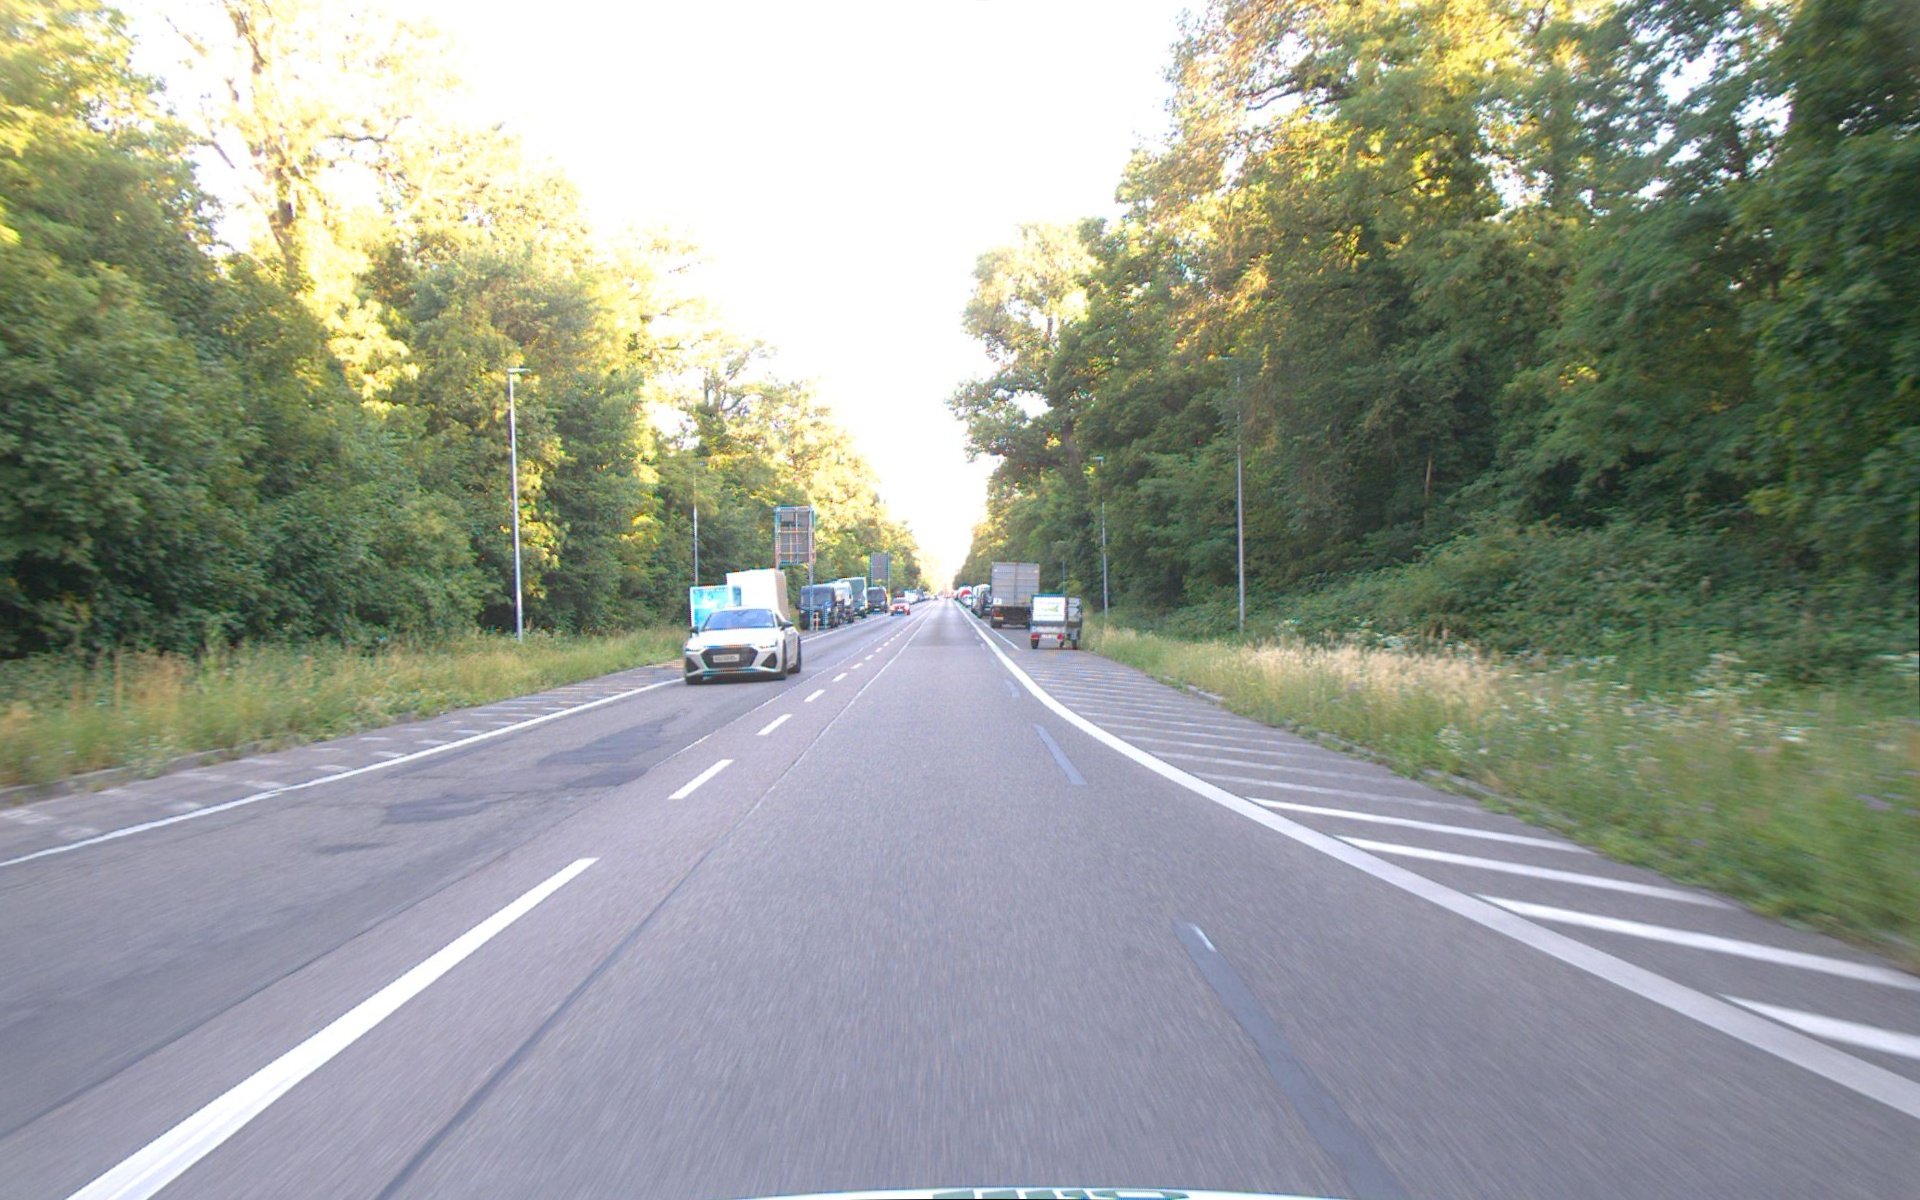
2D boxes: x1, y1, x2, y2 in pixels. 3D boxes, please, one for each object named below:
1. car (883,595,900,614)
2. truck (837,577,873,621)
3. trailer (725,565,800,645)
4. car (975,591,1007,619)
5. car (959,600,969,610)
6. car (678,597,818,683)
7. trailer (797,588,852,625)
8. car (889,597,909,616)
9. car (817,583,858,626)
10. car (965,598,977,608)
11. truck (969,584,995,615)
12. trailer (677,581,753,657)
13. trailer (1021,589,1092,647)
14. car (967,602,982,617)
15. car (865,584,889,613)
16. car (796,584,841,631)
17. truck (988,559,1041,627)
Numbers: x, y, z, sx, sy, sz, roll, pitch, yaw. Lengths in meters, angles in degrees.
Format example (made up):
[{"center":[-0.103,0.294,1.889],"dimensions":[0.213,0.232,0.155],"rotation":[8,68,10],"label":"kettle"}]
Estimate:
[{"center":[-7.795,0.490,188.782],"dimensions":[1.666,2.048,3.999],"rotation":[-5,0,-1],"label":"car"},{"center":[-8.591,-0.113,135.579],"dimensions":[2.453,3.387,6.840],"rotation":[-2,0,-1],"label":"truck"},{"center":[-7.953,0.205,67.152],"dimensions":[2.279,2.975,5.625],"rotation":[-3,0,-1],"label":"trailer"},{"center":[2.184,0.339,117.769],"dimensions":[1.954,1.989,4.297],"rotation":[0,0,-3],"label":"car"},{"center":[0.535,0.686,232.621],"dimensions":[1.398,1.243,3.411],"rotation":[2,0,-1],"label":"car"},{"center":[-4.160,0.748,33.179],"dimensions":[2.021,1.460,4.467],"rotation":[-4,0,2],"label":"car"},{"center":[-8.535,0.417,104.474],"dimensions":[1.922,2.192,3.930],"rotation":[-2,0,20],"label":"trailer"},{"center":[-5.250,0.558,143.101],"dimensions":[1.648,1.512,4.036],"rotation":[-2,0,-2],"label":"car"},{"center":[-8.116,0.269,110.008],"dimensions":[2.203,2.694,5.720],"rotation":[-2,0,-1],"label":"car"},{"center":[1.457,0.325,215.329],"dimensions":[1.398,1.243,3.411],"rotation":[2,0,-1],"label":"car"},{"center":[1.940,-0.033,150.119],"dimensions":[2.098,2.706,4.297],"rotation":[0,0,-3],"label":"truck"},{"center":[-7.588,0.564,51.545],"dimensions":[1.780,2.205,4.141],"rotation":[-2,0,-1],"label":"trailer"},{"center":[3.043,0.521,51.512],"dimensions":[1.425,1.691,3.780],"rotation":[-2,0,15],"label":"trailer"},{"center":[1.371,0.864,156.428],"dimensions":[1.124,1.273,2.752],"rotation":[-5,1,-3],"label":"car"},{"center":[-8.489,-0.199,170.224],"dimensions":[2.142,2.837,5.333],"rotation":[-2,0,-1],"label":"car"},{"center":[-7.866,0.414,92.274],"dimensions":[1.953,2.405,5.765],"rotation":[-4,0,-1],"label":"car"},{"center":[2.698,-0.335,83.872],"dimensions":[2.535,3.312,7.221],"rotation":[0,0,1],"label":"truck"}]
